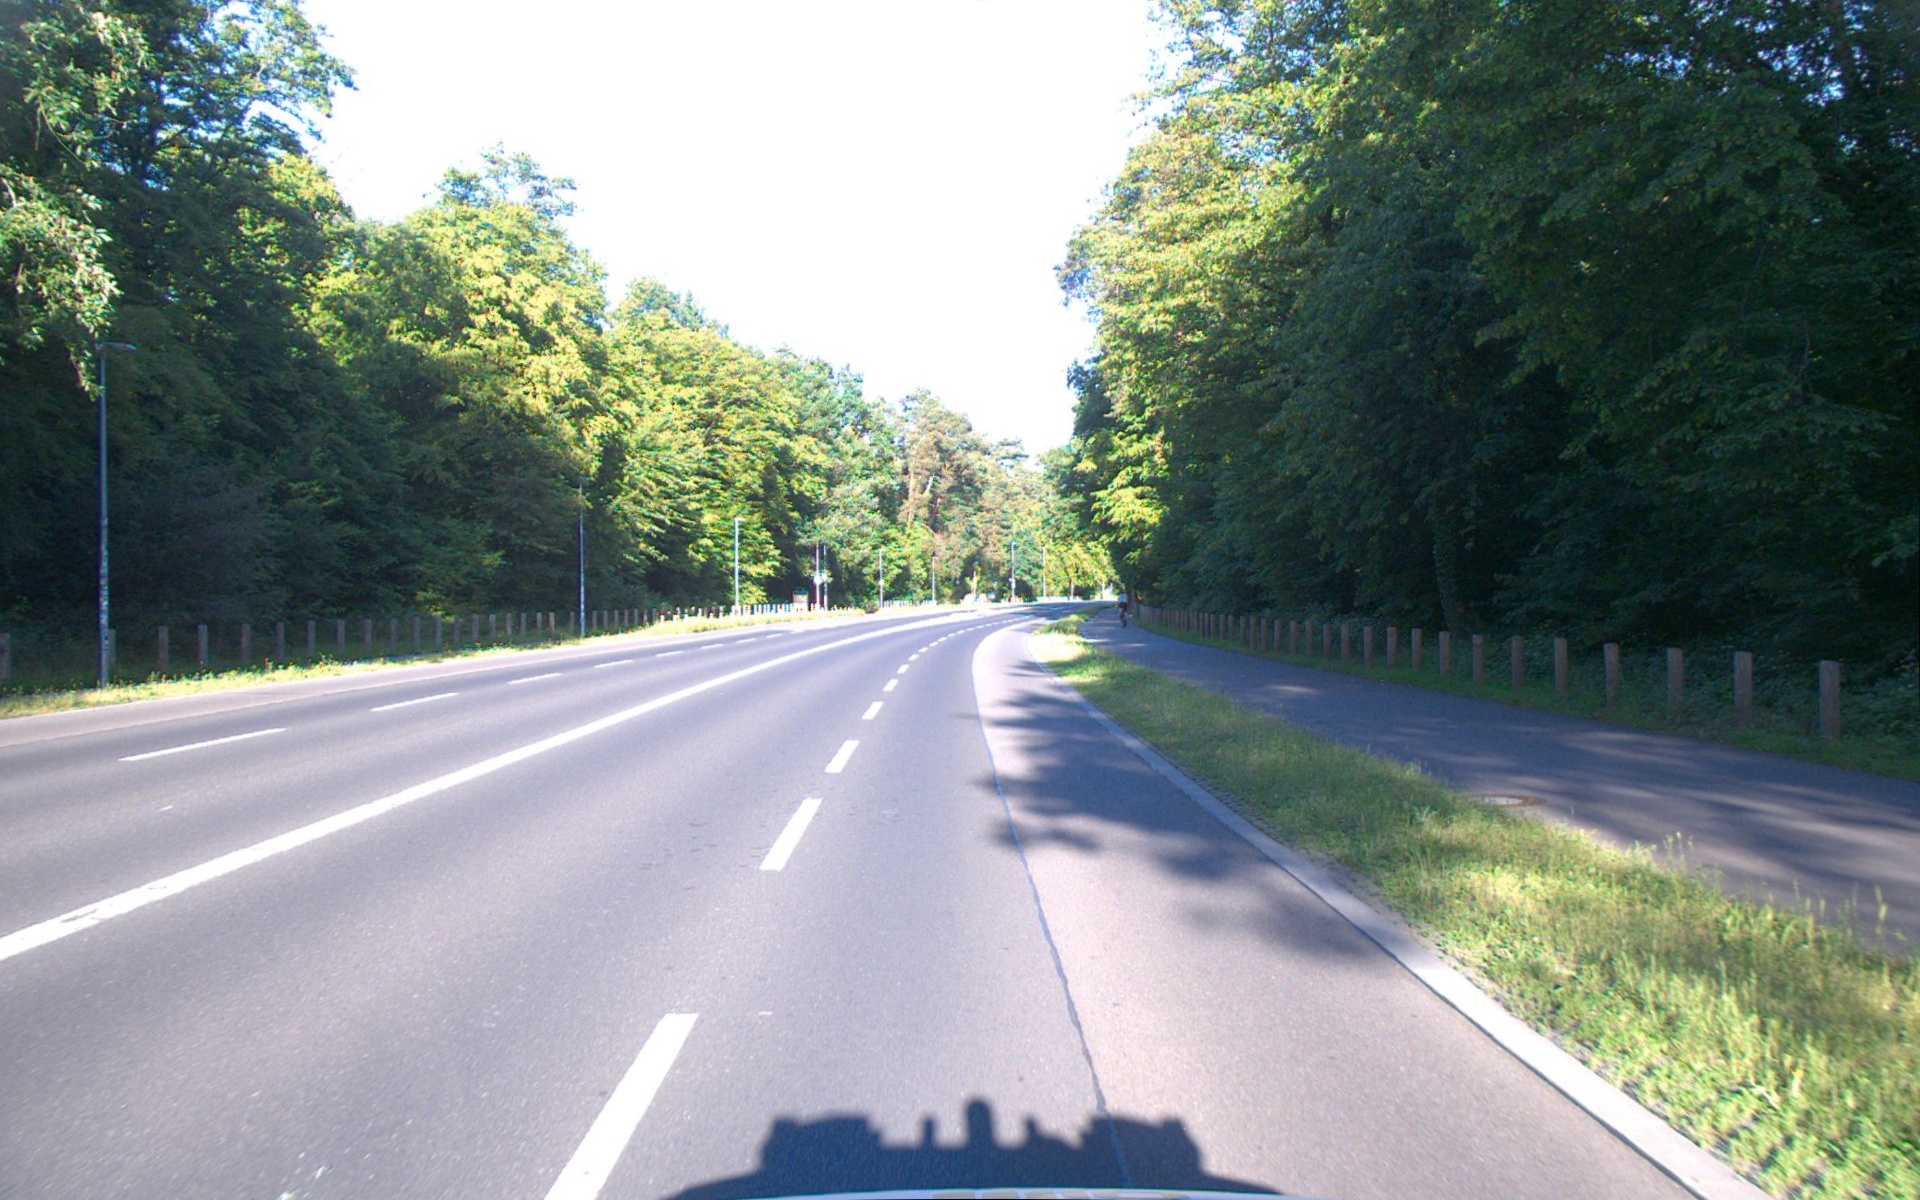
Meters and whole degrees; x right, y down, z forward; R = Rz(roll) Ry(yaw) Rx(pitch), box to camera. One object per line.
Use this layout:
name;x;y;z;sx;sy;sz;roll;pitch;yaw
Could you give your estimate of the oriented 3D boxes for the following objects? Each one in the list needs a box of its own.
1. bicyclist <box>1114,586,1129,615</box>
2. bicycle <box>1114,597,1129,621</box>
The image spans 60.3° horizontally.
bicyclist;7.507;0.027;76.700;0.697;1.311;1.105;0;0;6
bicycle;7.507;0.404;76.693;0.697;1.074;2.054;0;0;6
